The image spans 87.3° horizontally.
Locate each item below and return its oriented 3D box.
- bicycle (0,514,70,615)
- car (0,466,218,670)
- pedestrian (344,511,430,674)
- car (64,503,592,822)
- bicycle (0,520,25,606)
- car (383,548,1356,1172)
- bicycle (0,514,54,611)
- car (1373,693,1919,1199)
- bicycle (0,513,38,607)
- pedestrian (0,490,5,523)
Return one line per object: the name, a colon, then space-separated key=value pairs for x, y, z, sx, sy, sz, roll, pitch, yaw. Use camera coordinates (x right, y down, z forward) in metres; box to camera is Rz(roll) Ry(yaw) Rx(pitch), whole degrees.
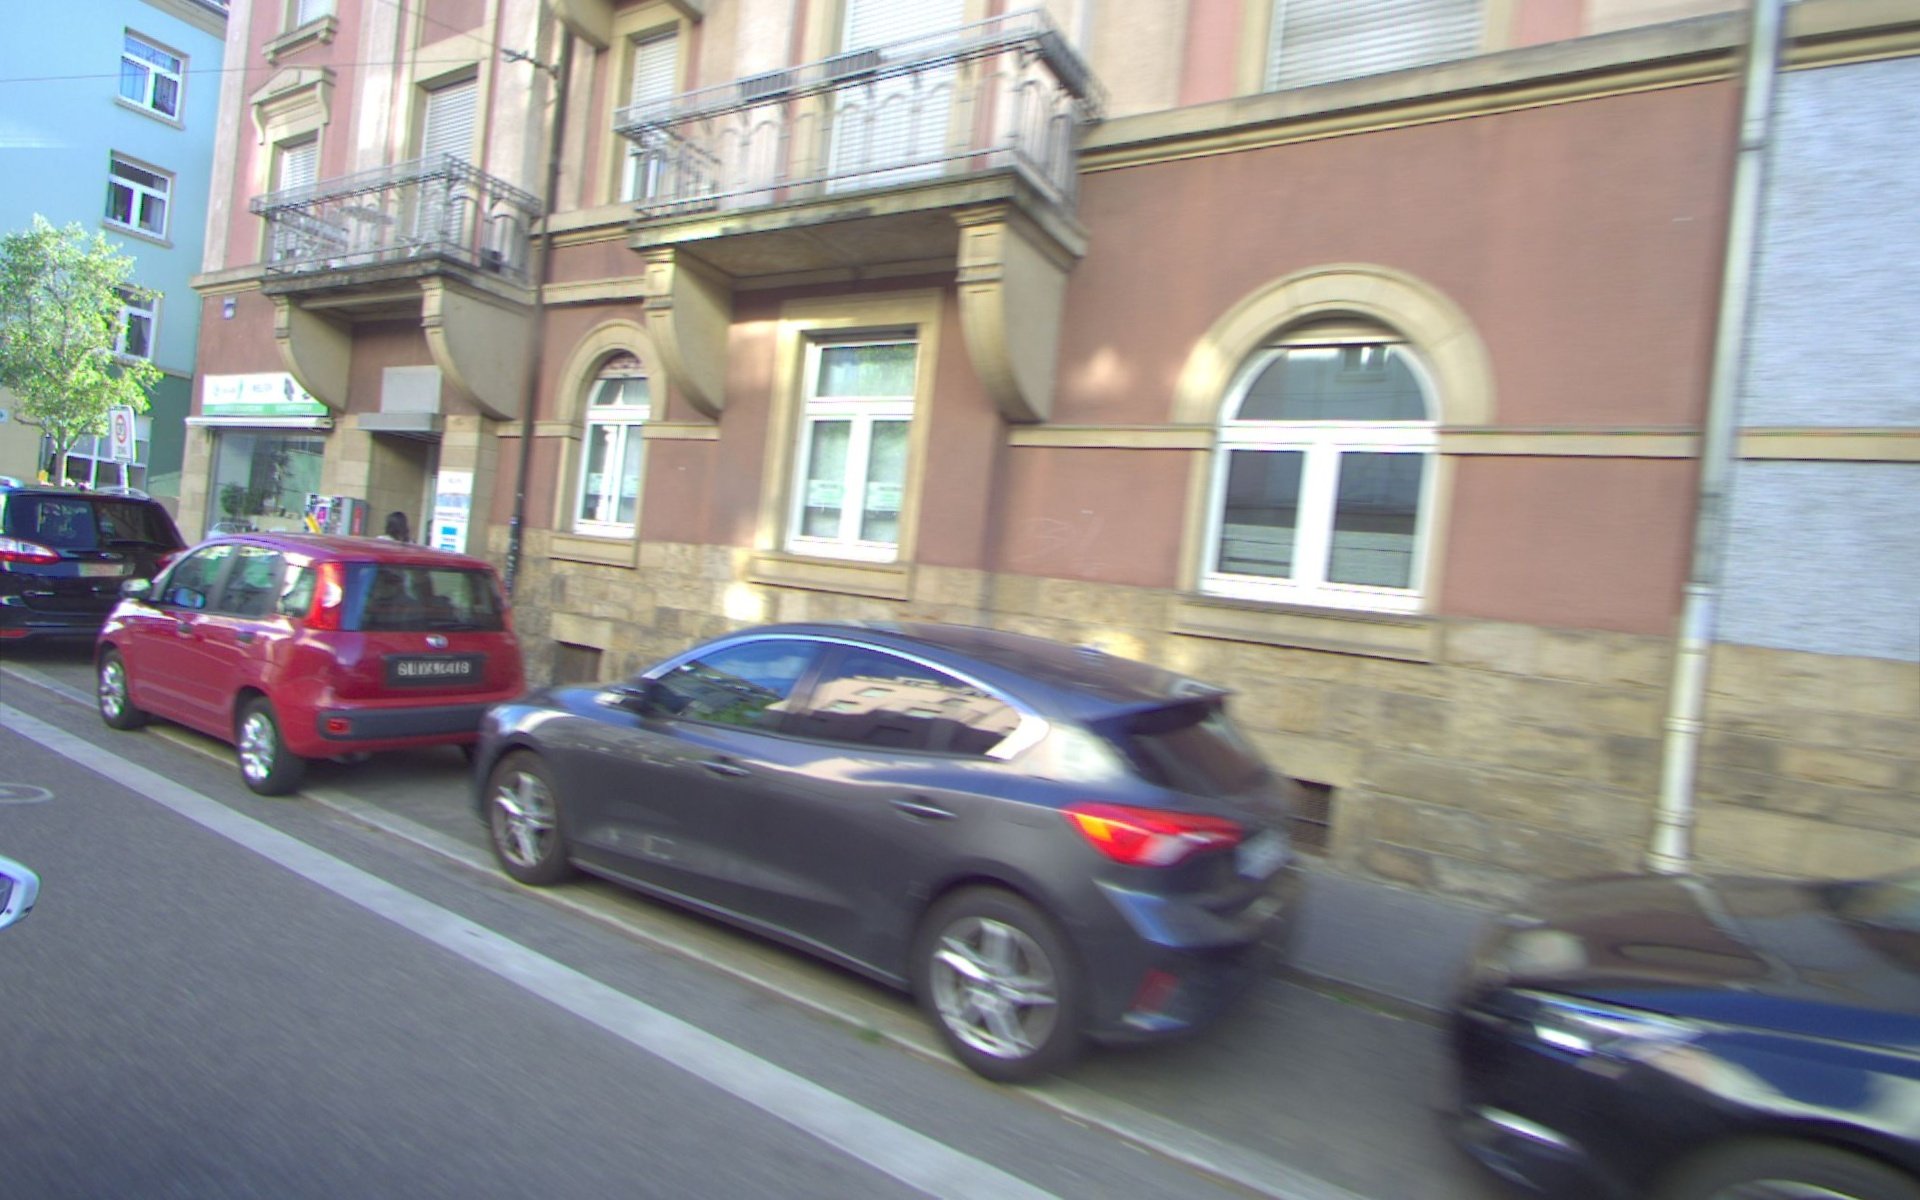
bicycle: x=-12.533 y=-0.494 z=12.597 sx=0.518 sy=1.243 sz=1.960 roll=7 pitch=1 yaw=32
car: x=-9.724 y=-0.458 z=10.442 sx=4.433 sy=1.759 sz=1.752 roll=6 pitch=3 yaw=33
pedestrian: x=-6.246 y=-0.076 z=10.969 sx=0.440 sy=1.708 sz=0.513 roll=7 pitch=1 yaw=32
car: x=-4.631 y=0.313 z=7.251 sx=3.669 sy=1.614 sz=1.755 roll=6 pitch=0 yaw=33
bicycle: x=-13.951 y=-0.576 z=13.508 sx=0.518 sy=1.175 sz=1.924 roll=7 pitch=1 yaw=32
car: x=-0.662 y=0.757 z=4.796 sx=4.400 sy=1.531 sz=1.656 roll=6 pitch=0 yaw=32
bicycle: x=-13.010 y=-0.545 z=12.892 sx=0.518 sy=1.243 sz=1.960 roll=7 pitch=1 yaw=32
car: x=3.441 y=1.271 z=2.222 sx=4.399 sy=1.501 sz=1.657 roll=6 pitch=0 yaw=31
bicycle: x=-13.483 y=-0.596 z=13.171 sx=0.518 sy=1.243 sz=1.960 roll=7 pitch=1 yaw=32
pedestrian: x=-20.128 y=-1.492 z=20.370 sx=0.690 sy=1.651 sz=0.732 roll=6 pitch=-2 yaw=17
